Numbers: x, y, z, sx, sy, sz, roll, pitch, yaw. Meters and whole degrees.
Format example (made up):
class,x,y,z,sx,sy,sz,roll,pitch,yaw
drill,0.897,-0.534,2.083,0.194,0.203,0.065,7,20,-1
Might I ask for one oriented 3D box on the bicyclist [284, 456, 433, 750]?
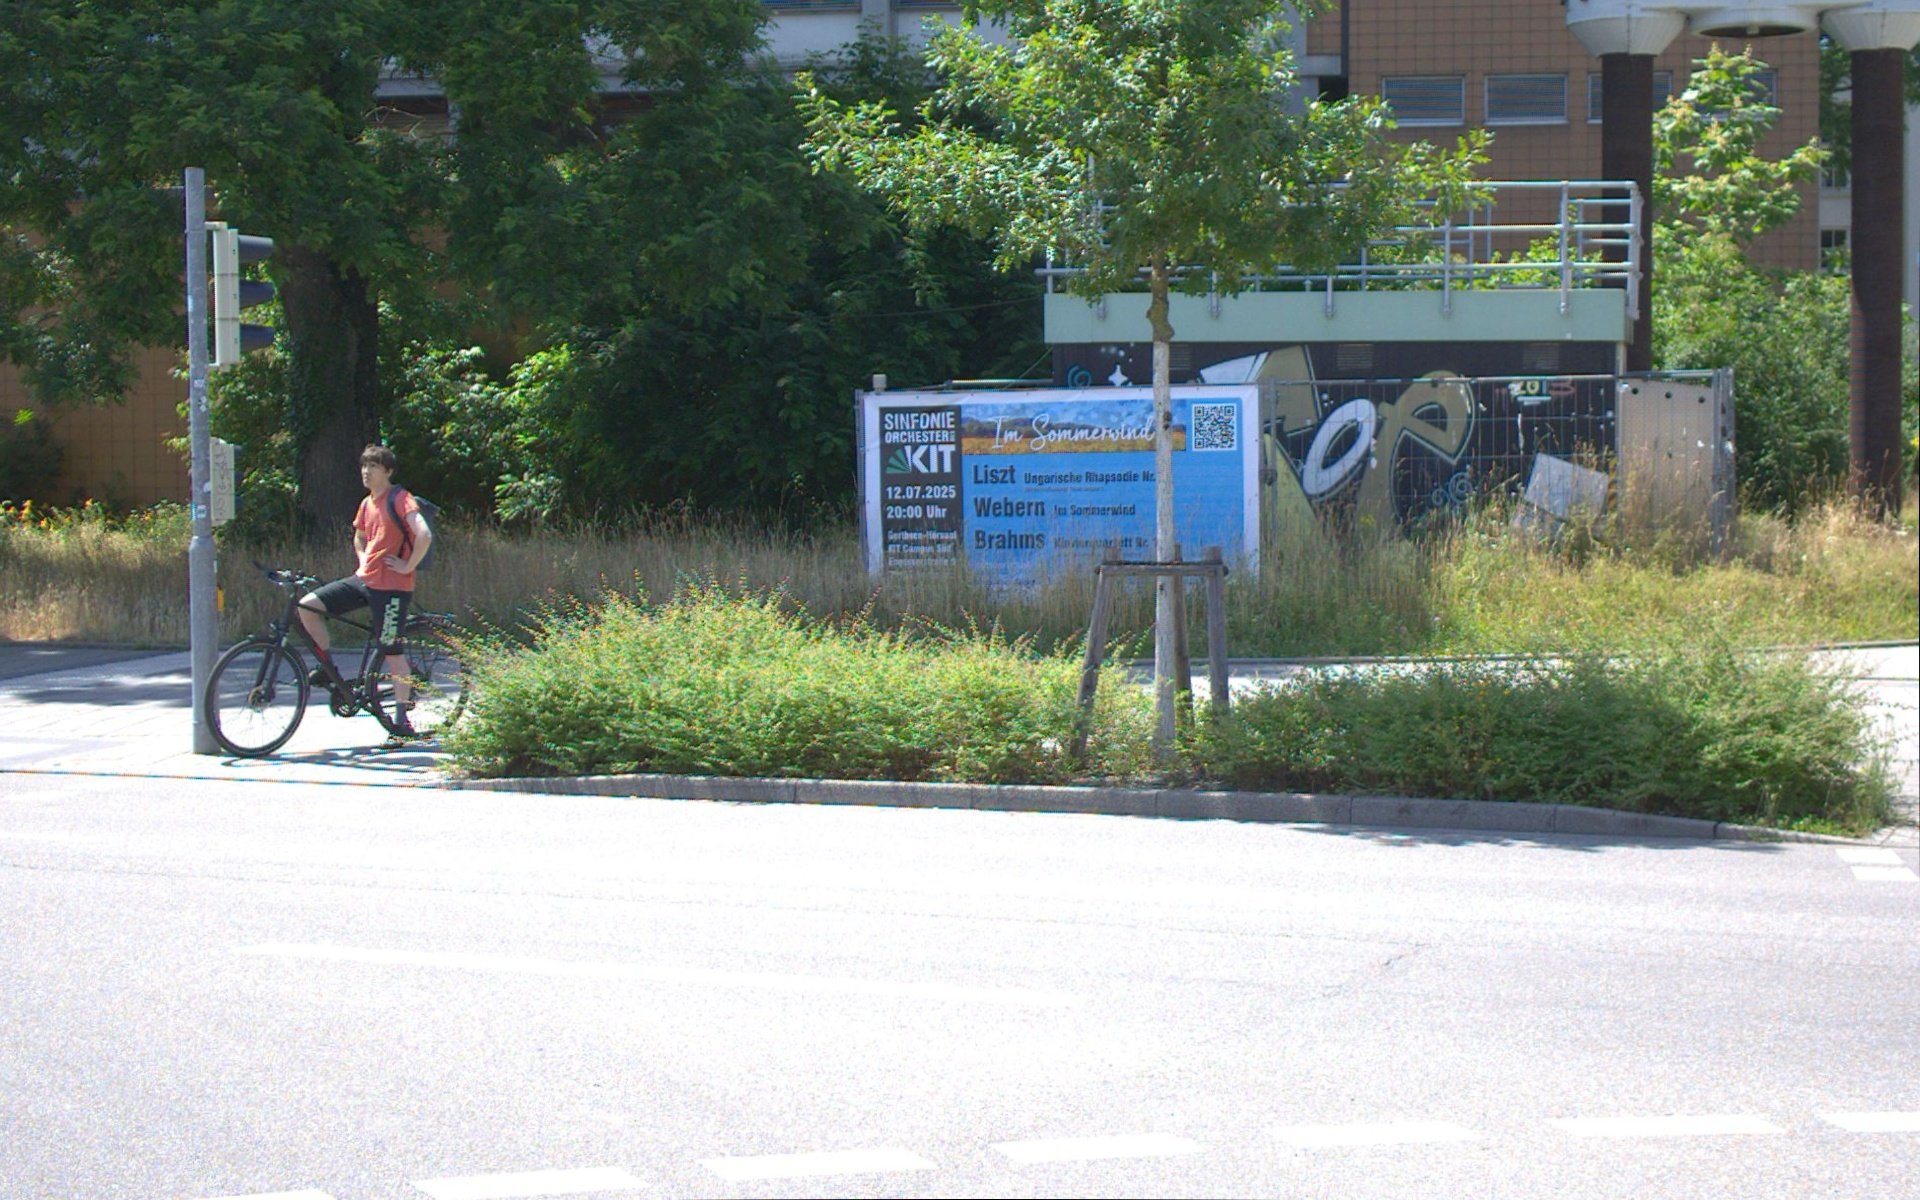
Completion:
class,x,y,z,sx,sy,sz,roll,pitch,yaw
bicyclist,-3.624,0.002,20.734,0.701,1.709,0.551,-3,5,-39

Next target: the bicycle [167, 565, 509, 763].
class,x,y,z,sx,sy,sz,roll,pitch,yaw
bicycle,-3.721,0.362,20.691,1.991,1.041,0.558,-3,5,-38
